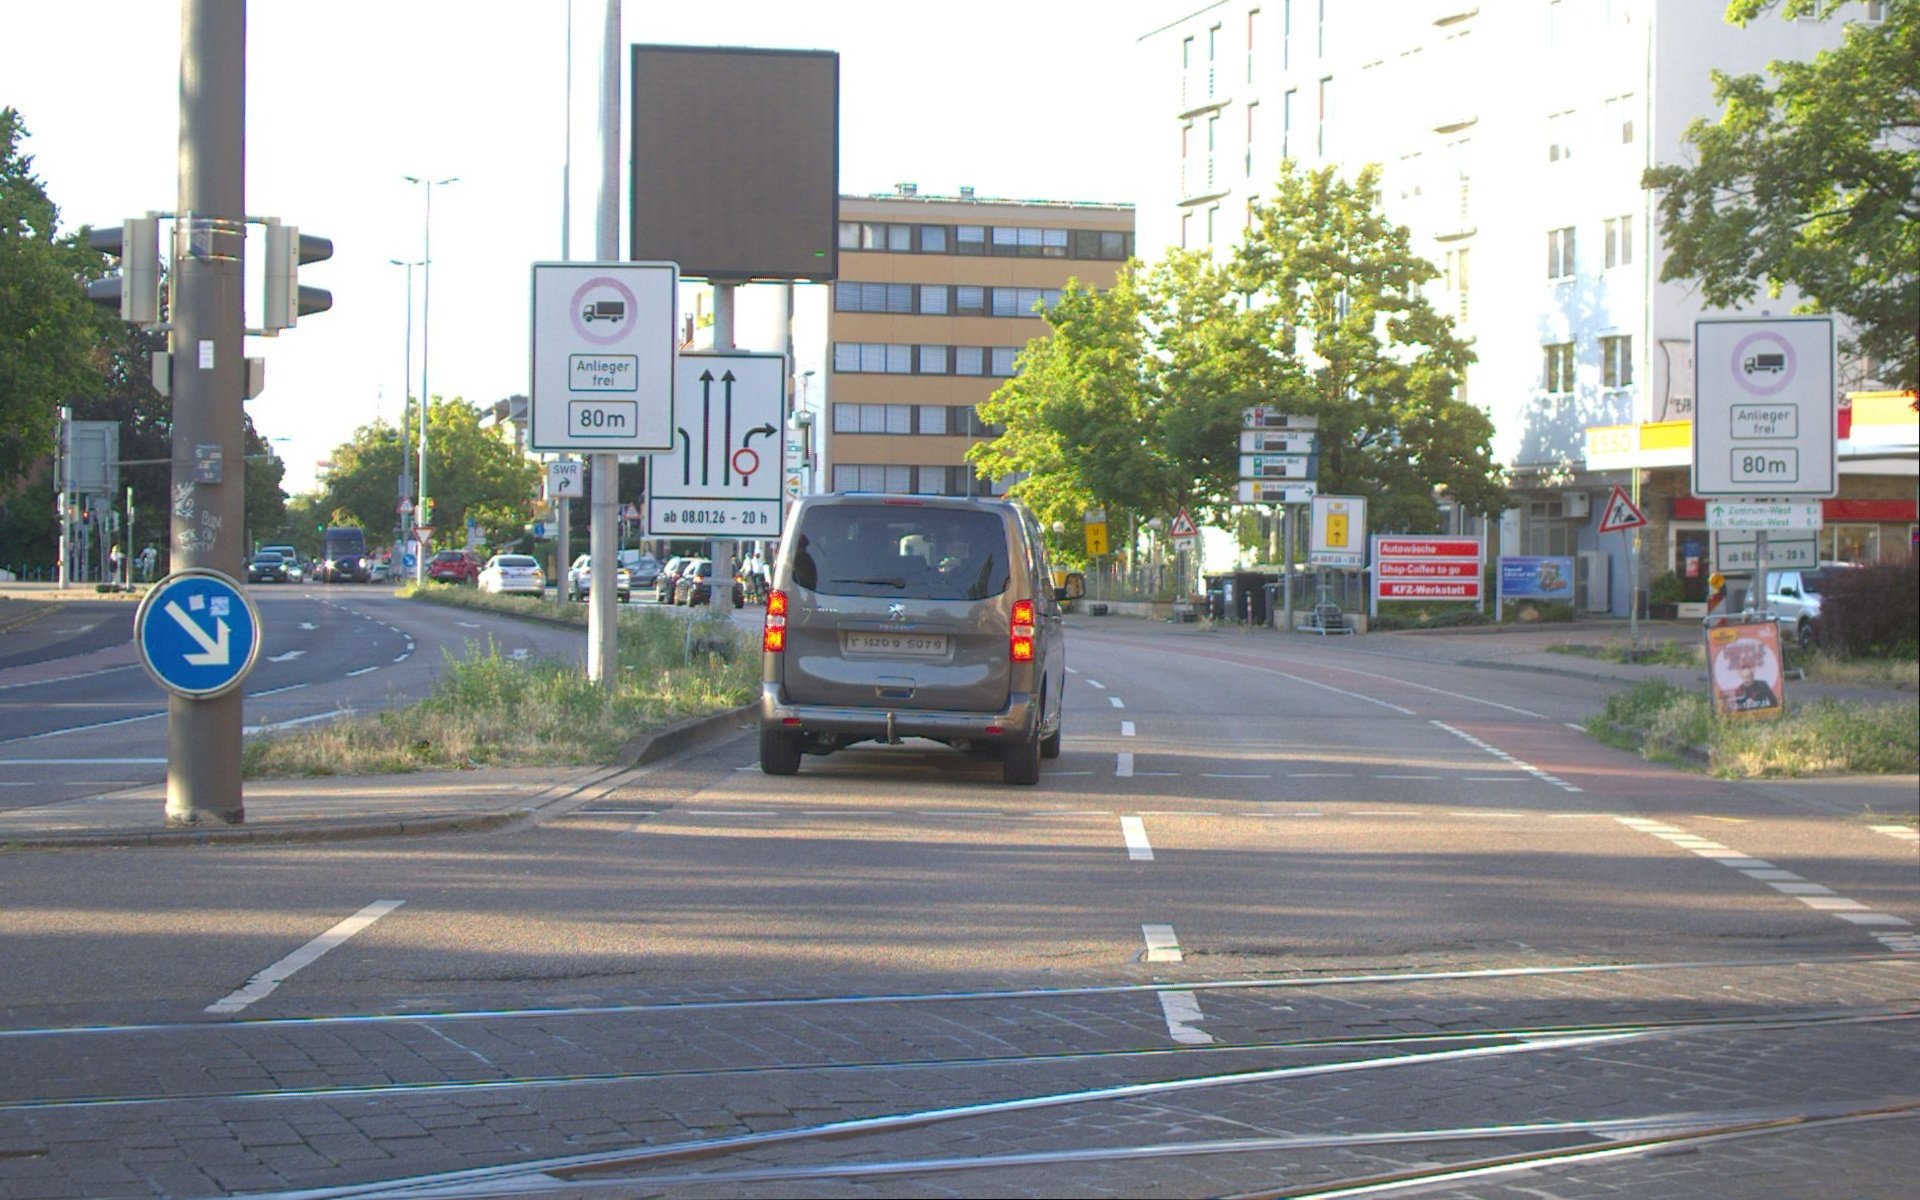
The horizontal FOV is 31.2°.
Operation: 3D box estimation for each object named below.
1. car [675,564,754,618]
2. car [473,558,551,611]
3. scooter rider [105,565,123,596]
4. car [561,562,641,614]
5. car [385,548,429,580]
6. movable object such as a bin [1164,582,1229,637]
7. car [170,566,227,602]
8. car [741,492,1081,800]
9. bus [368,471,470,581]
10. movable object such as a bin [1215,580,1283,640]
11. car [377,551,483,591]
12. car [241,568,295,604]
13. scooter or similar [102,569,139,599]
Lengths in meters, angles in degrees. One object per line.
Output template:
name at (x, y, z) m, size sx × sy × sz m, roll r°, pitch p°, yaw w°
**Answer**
car at (-7.787, -0.301, 108.661) m, size 1.993 × 1.651 × 4.300 m, roll 1°, pitch 0°, yaw -10°
car at (-14.592, -0.523, 111.828) m, size 1.993 × 1.651 × 4.300 m, roll 1°, pitch 0°, yaw -14°
scooter rider at (-28.763, -0.672, 116.872) m, size 0.509 × 1.032 × 0.446 m, roll 2°, pitch 0°, yaw -22°
car at (-11.814, -0.414, 113.018) m, size 1.993 × 1.651 × 4.300 m, roll 1°, pitch 0°, yaw -14°
car at (-29.684, -1.943, 184.429) m, size 1.848 × 1.702 × 3.726 m, roll 1°, pitch 1°, yaw -16°
movable object such as a bin at (6.129, 0.235, 89.227) m, size 1.462 × 1.381 × 1.547 m, roll 1°, pitch 1°, yaw -3°
car at (-34.679, -0.744, 156.621) m, size 1.993 × 1.590 × 4.001 m, roll 1°, pitch 1°, yaw -5°
car at (-0.241, 0.290, 24.122) m, size 1.994 × 1.894 × 4.298 m, roll 2°, pitch 0°, yaw 4°
bus at (-24.161, -3.254, 153.112) m, size 3.288 × 4.601 × 10.003 m, roll 2°, pitch 0°, yaw -15°
movable object such as a bin at (7.221, 0.250, 85.919) m, size 1.462 × 1.449 × 1.547 m, roll 1°, pitch 0°, yaw -3°
car at (-22.304, -1.221, 144.565) m, size 3.986 × 1.590 × 2.000 m, roll 1°, pitch 1°, yaw -25°
car at (-31.724, -0.648, 157.684) m, size 1.993 × 1.590 × 4.001 m, roll 1°, pitch 1°, yaw -5°
scooter or similar at (-28.553, -0.555, 116.948) m, size 1.098 × 0.973 × 0.559 m, roll 2°, pitch 0°, yaw -21°
